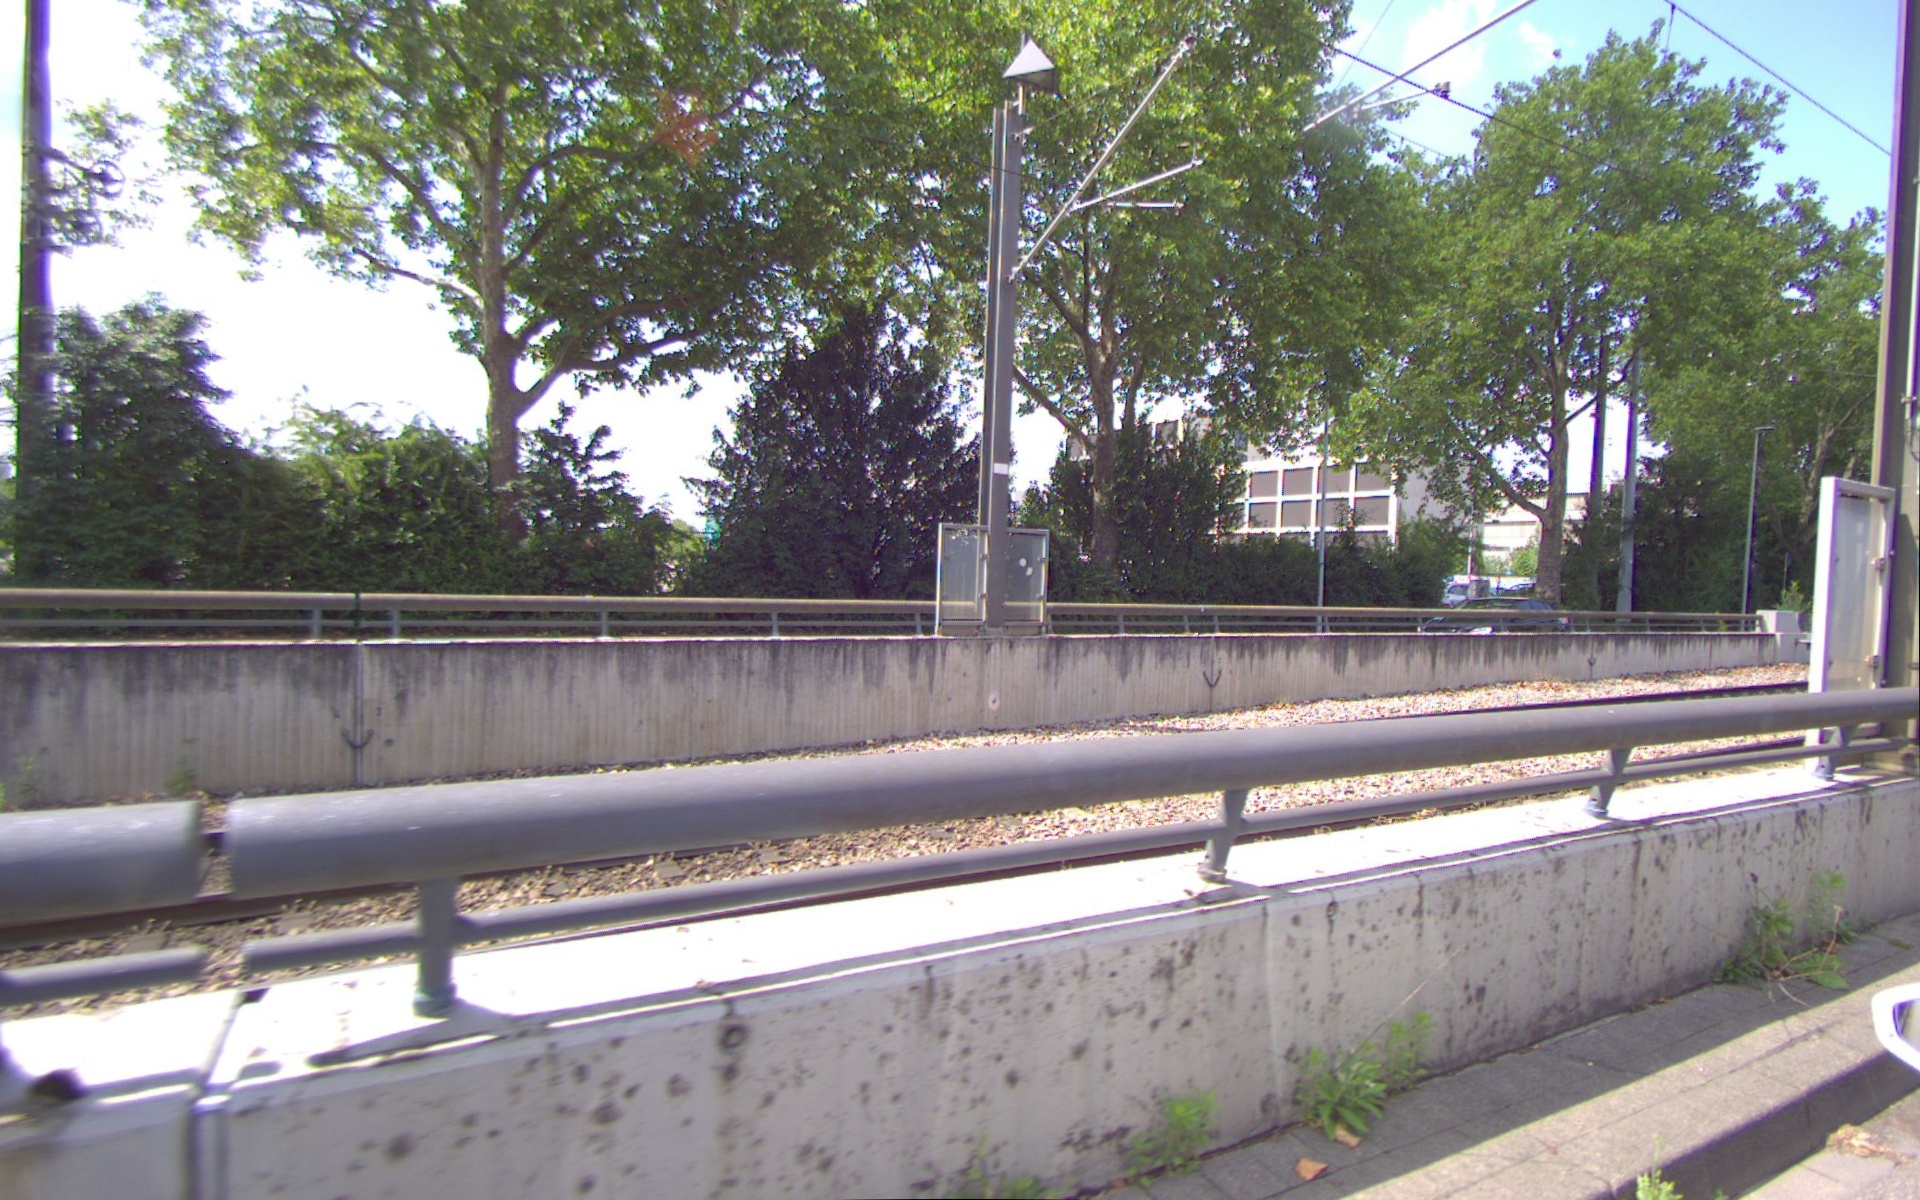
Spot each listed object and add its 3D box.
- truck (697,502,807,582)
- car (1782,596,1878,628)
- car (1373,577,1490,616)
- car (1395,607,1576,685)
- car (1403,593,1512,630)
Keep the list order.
[{"bbox_3d":[-8.999,-2.287,42.539,2.669,2.830,8.808,1,0,-24],"label":"truck"},{"bbox_3d":[51.708,0.696,59.748,1.784,1.773,3.964,0,1,-32],"label":"car"},{"bbox_3d":[19.502,-0.183,41.696,1.976,1.461,3.969,1,1,-29],"label":"car"},{"bbox_3d":[12.040,0.989,22.941,4.247,1.618,1.659,0,1,-30],"label":"car"},{"bbox_3d":[22.302,0.492,45.150,1.976,1.461,3.969,1,1,-29],"label":"car"}]
